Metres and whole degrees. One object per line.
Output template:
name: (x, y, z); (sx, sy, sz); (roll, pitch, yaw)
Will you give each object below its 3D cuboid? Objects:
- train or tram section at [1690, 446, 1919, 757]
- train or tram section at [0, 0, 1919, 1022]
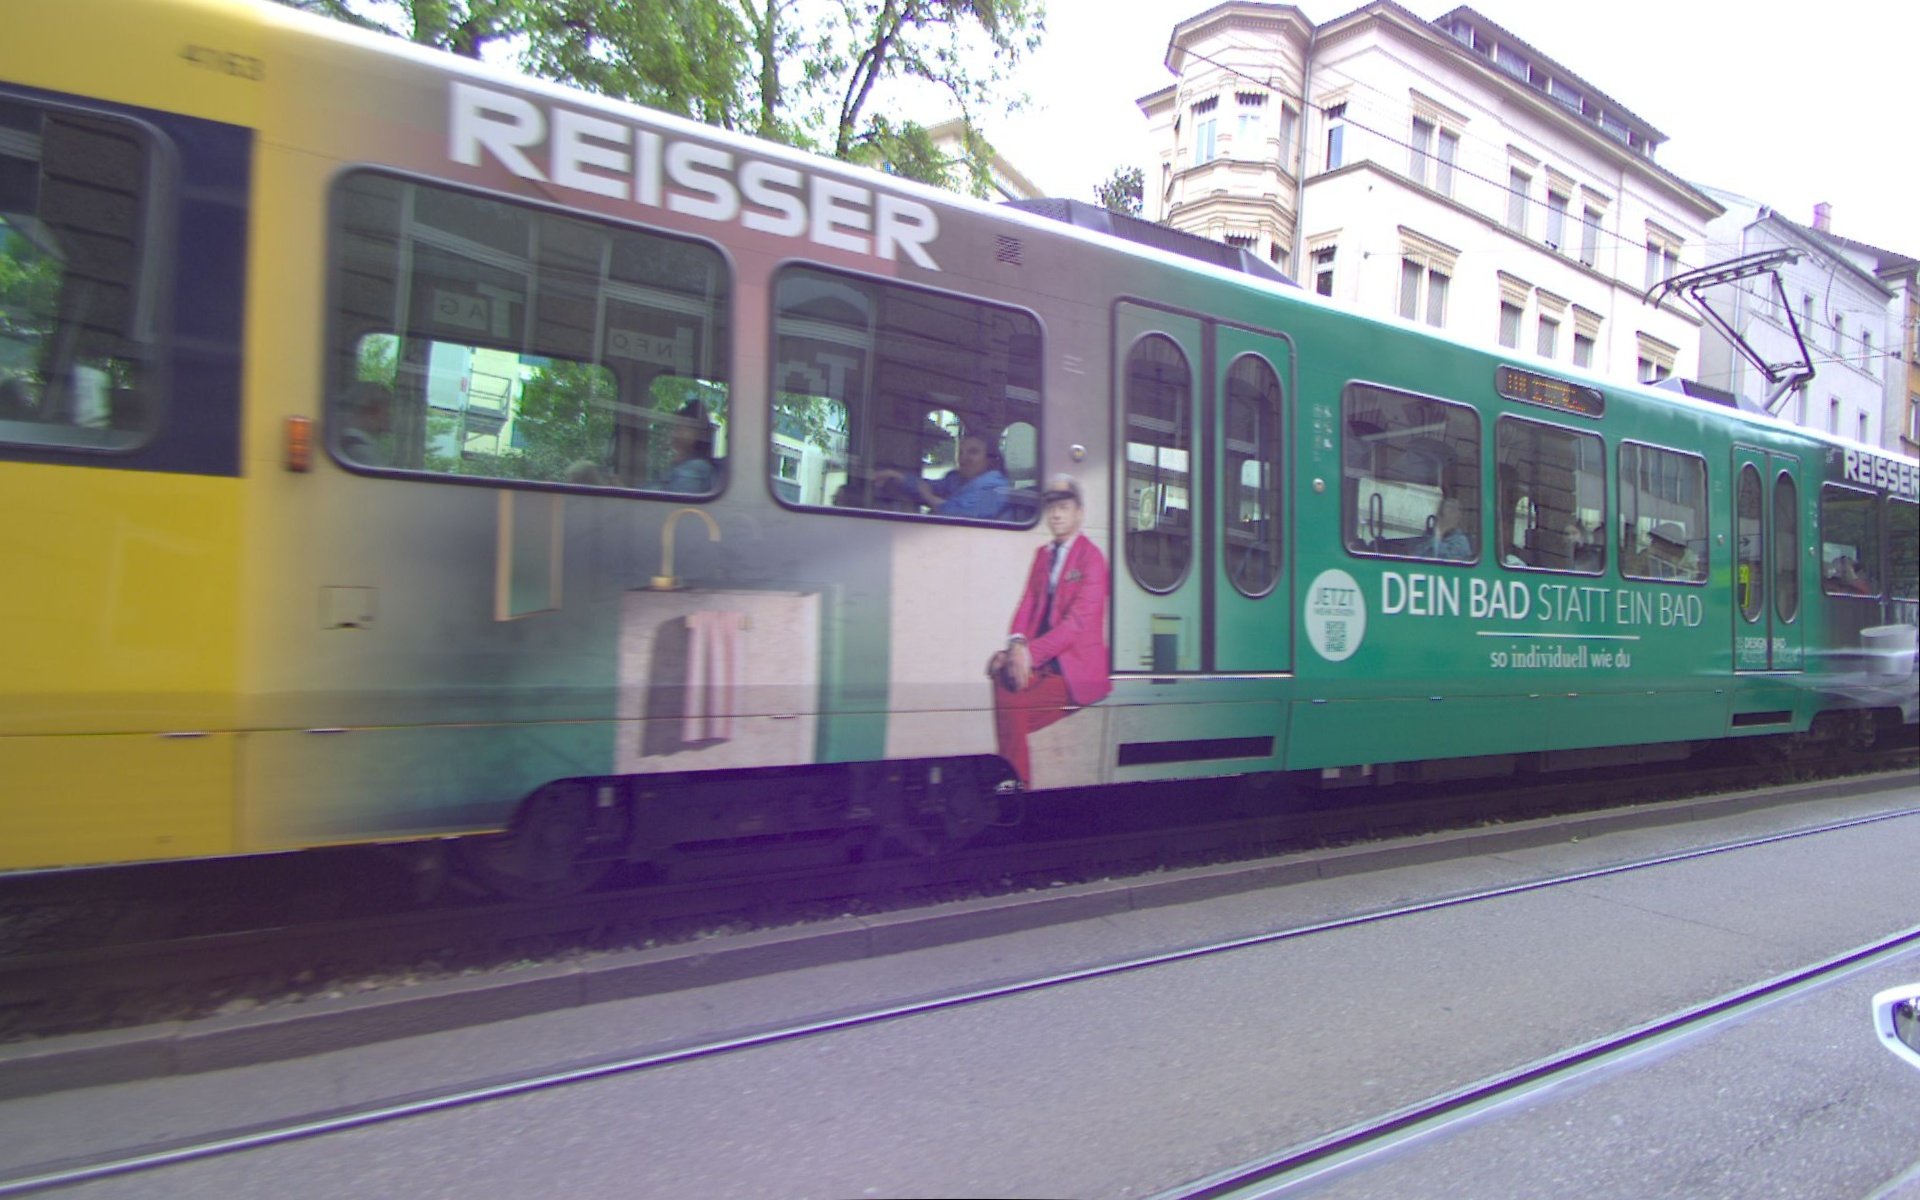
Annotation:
train or tram section: (19.187, 0.265, 17.804); (18.538, 3.775, 2.862); (2, 1, -31)
train or tram section: (3.275, -0.409, 8.316); (18.539, 3.775, 2.862); (2, 1, -31)
